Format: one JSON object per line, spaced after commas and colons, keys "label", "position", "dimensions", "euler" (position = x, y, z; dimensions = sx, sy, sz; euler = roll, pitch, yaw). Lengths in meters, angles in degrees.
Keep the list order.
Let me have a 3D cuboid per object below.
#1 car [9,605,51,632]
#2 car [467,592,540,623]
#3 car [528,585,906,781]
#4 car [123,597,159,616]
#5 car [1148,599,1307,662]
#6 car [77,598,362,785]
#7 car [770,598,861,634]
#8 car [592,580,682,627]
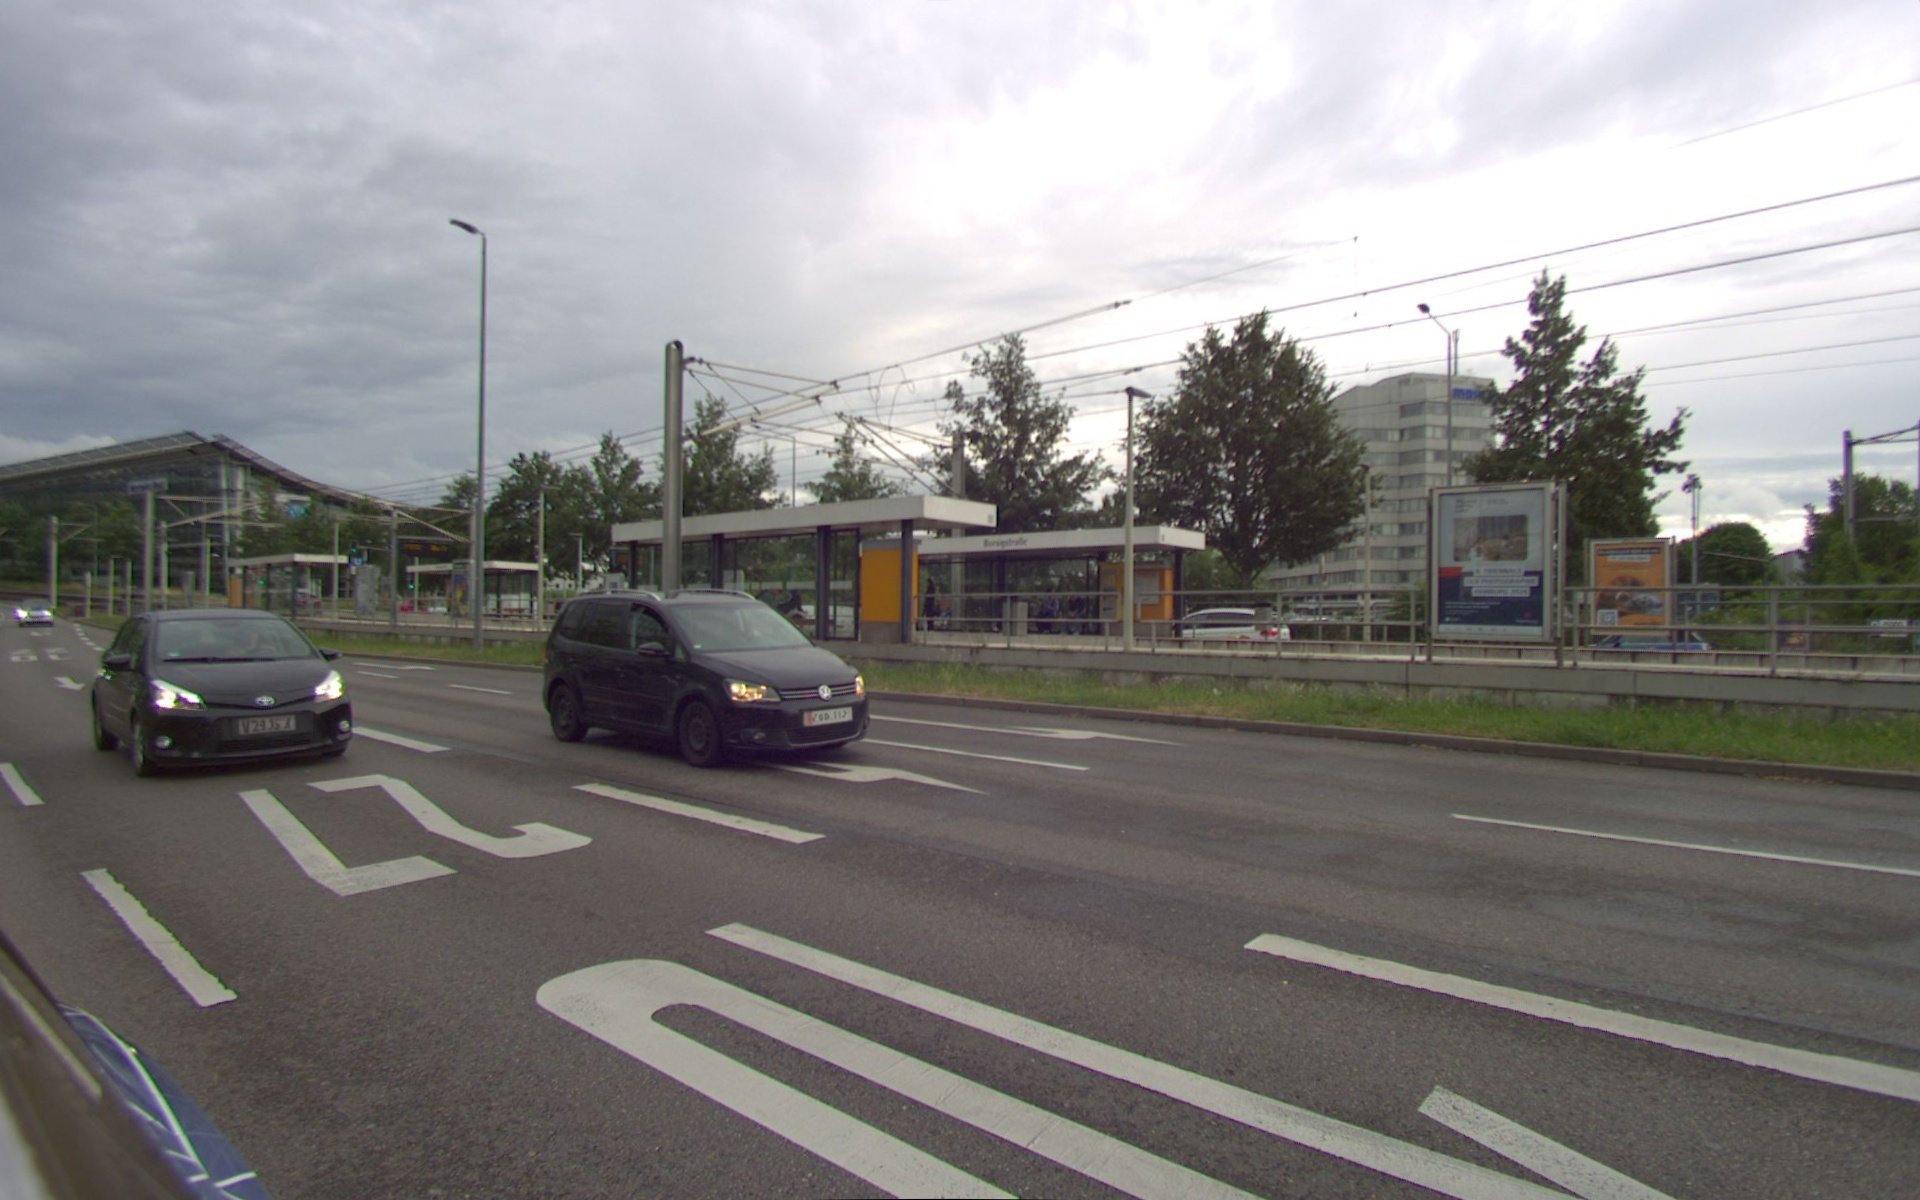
{"label": "car", "position": [-53.618, 1.040, 58.330], "dimensions": [1.715, 1.489, 4.003], "euler": [-1, 0, -44]}
{"label": "car", "position": [-27.380, 0.414, 60.645], "dimensions": [5.026, 1.744, 1.974], "euler": [0, 1, 40]}
{"label": "car", "position": [-2.642, 0.690, 10.413], "dimensions": [4.192, 1.604, 1.708], "euler": [0, 1, 42]}
{"label": "car", "position": [-82.854, 0.615, 102.416], "dimensions": [3.995, 1.861, 1.975], "euler": [0, 1, 38]}
{"label": "car", "position": [7.756, 0.832, 29.547], "dimensions": [4.266, 1.679, 1.512], "euler": [0, 1, 41]}
{"label": "car", "position": [-7.679, 0.811, 10.358], "dimensions": [3.905, 1.534, 1.674], "euler": [-2, -1, 43]}
{"label": "car", "position": [-7.451, 0.790, 51.842], "dimensions": [4.664, 1.712, 2.083], "euler": [1, 1, 41]}
{"label": "car", "position": [-16.296, 0.143, 50.879], "dimensions": [5.143, 2.231, 1.972], "euler": [1, 1, 42]}
